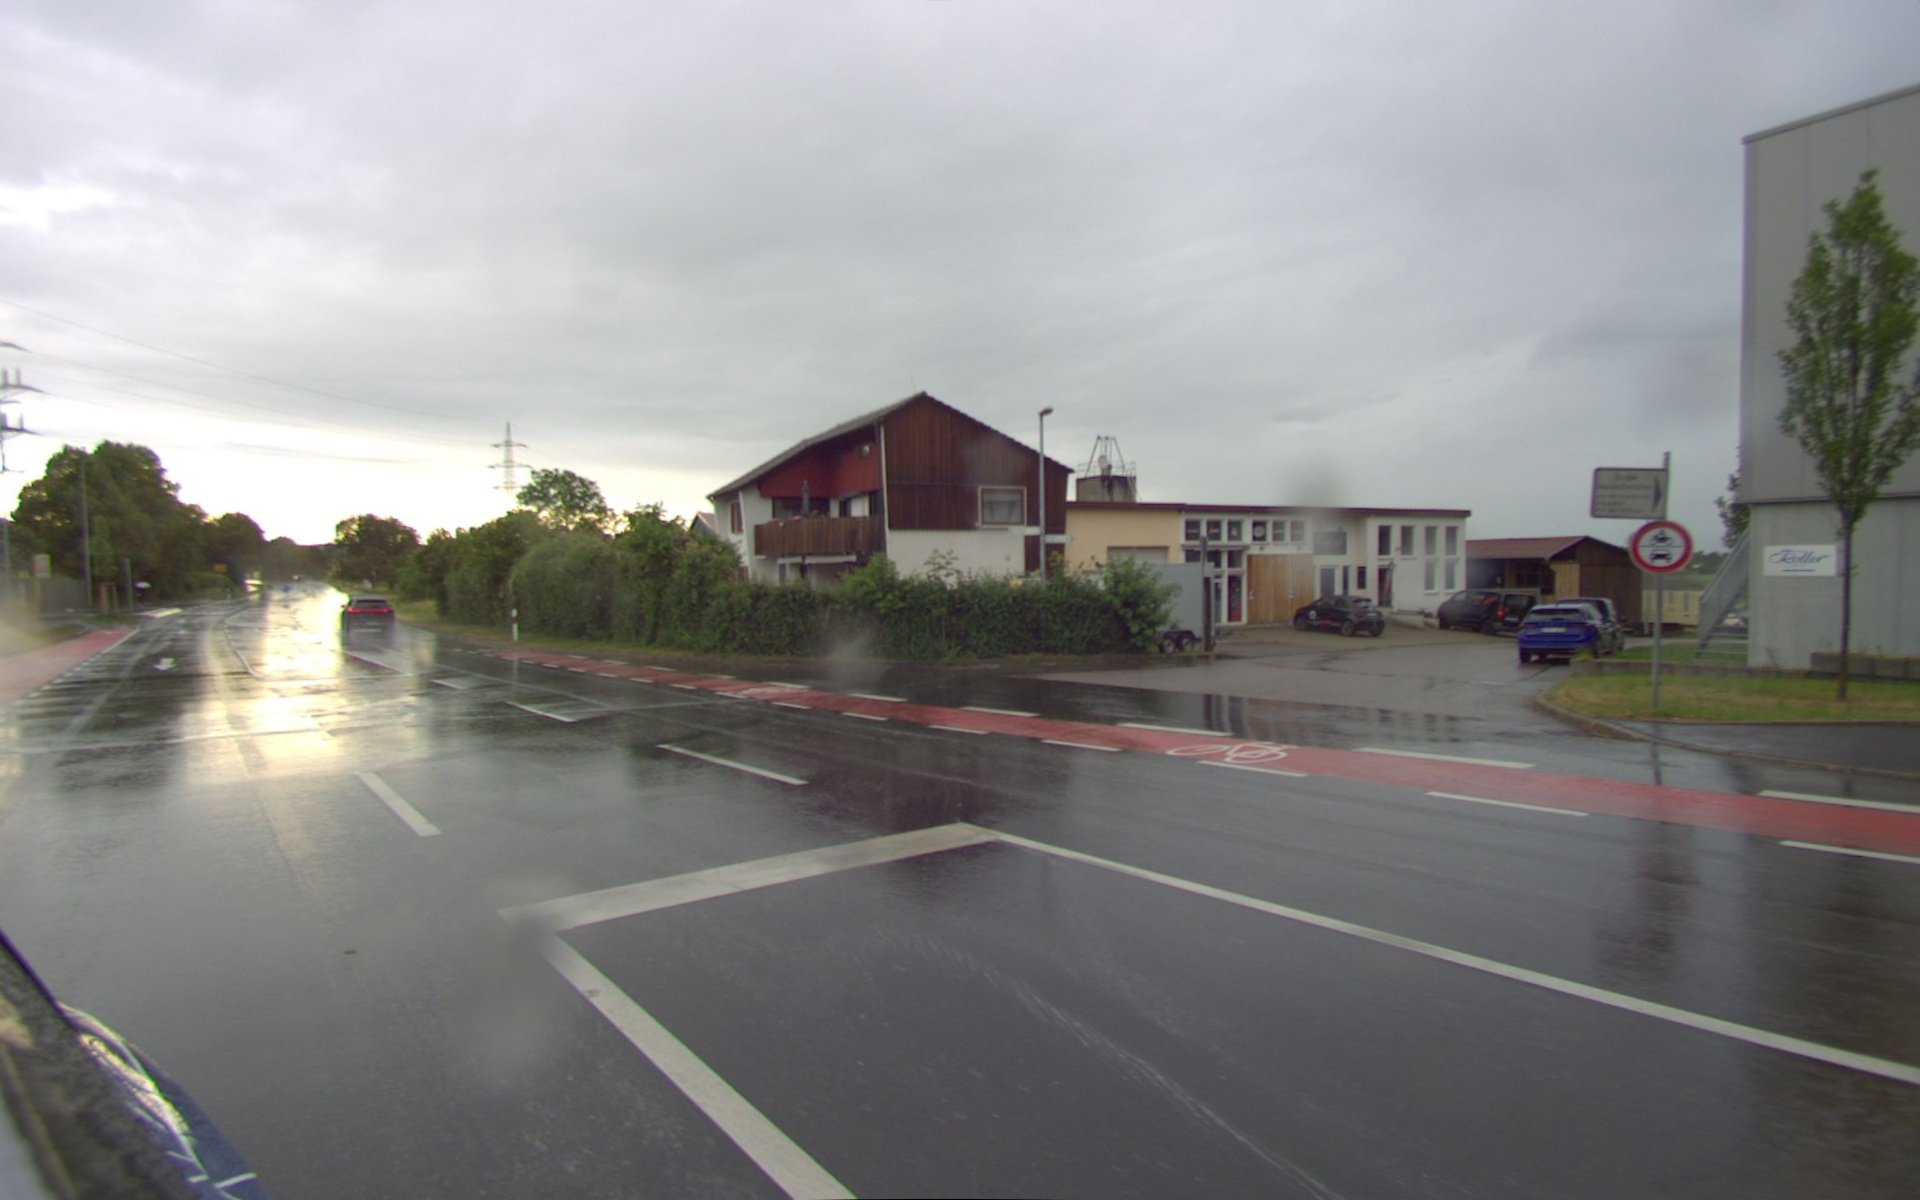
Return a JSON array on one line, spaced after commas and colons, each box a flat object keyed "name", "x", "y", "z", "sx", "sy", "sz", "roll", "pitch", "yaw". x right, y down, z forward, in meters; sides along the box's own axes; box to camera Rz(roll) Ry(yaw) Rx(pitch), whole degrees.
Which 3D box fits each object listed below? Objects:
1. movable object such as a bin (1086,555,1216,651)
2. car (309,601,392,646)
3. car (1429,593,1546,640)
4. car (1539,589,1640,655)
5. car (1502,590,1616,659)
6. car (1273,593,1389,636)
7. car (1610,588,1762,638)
[{"name": "movable object such as a bin", "x": 5.405, "y": 0.115, "z": 28.592, "sx": 3.282, "sy": 2.576, "sz": 1.743, "roll": 1, "pitch": -1, "yaw": -31}, {"name": "car", "x": -27.348, "y": 0.987, "z": 45.271, "sx": 2.324, "sy": 1.829, "sz": 6.891, "roll": 1, "pitch": 0, "yaw": -38}, {"name": "car", "x": 22.630, "y": 0.696, "z": 43.621, "sx": 1.966, "sy": 1.919, "sz": 4.422, "roll": 1, "pitch": -1, "yaw": -15}, {"name": "car", "x": 19.377, "y": 0.662, "z": 31.069, "sx": 2.079, "sy": 1.849, "sz": 4.411, "roll": 0, "pitch": -1, "yaw": 40}, {"name": "car", "x": 15.486, "y": 0.613, "z": 26.057, "sx": 1.956, "sy": 1.622, "sz": 4.389, "roll": 0, "pitch": -1, "yaw": 39}, {"name": "car", "x": 14.493, "y": 0.570, "z": 39.726, "sx": 1.965, "sy": 1.567, "sz": 4.013, "roll": 1, "pitch": -1, "yaw": -27}, {"name": "car", "x": 37.842, "y": 0.687, "z": 52.964, "sx": 2.420, "sy": 2.433, "sz": 6.048, "roll": 1, "pitch": -1, "yaw": -25}]
